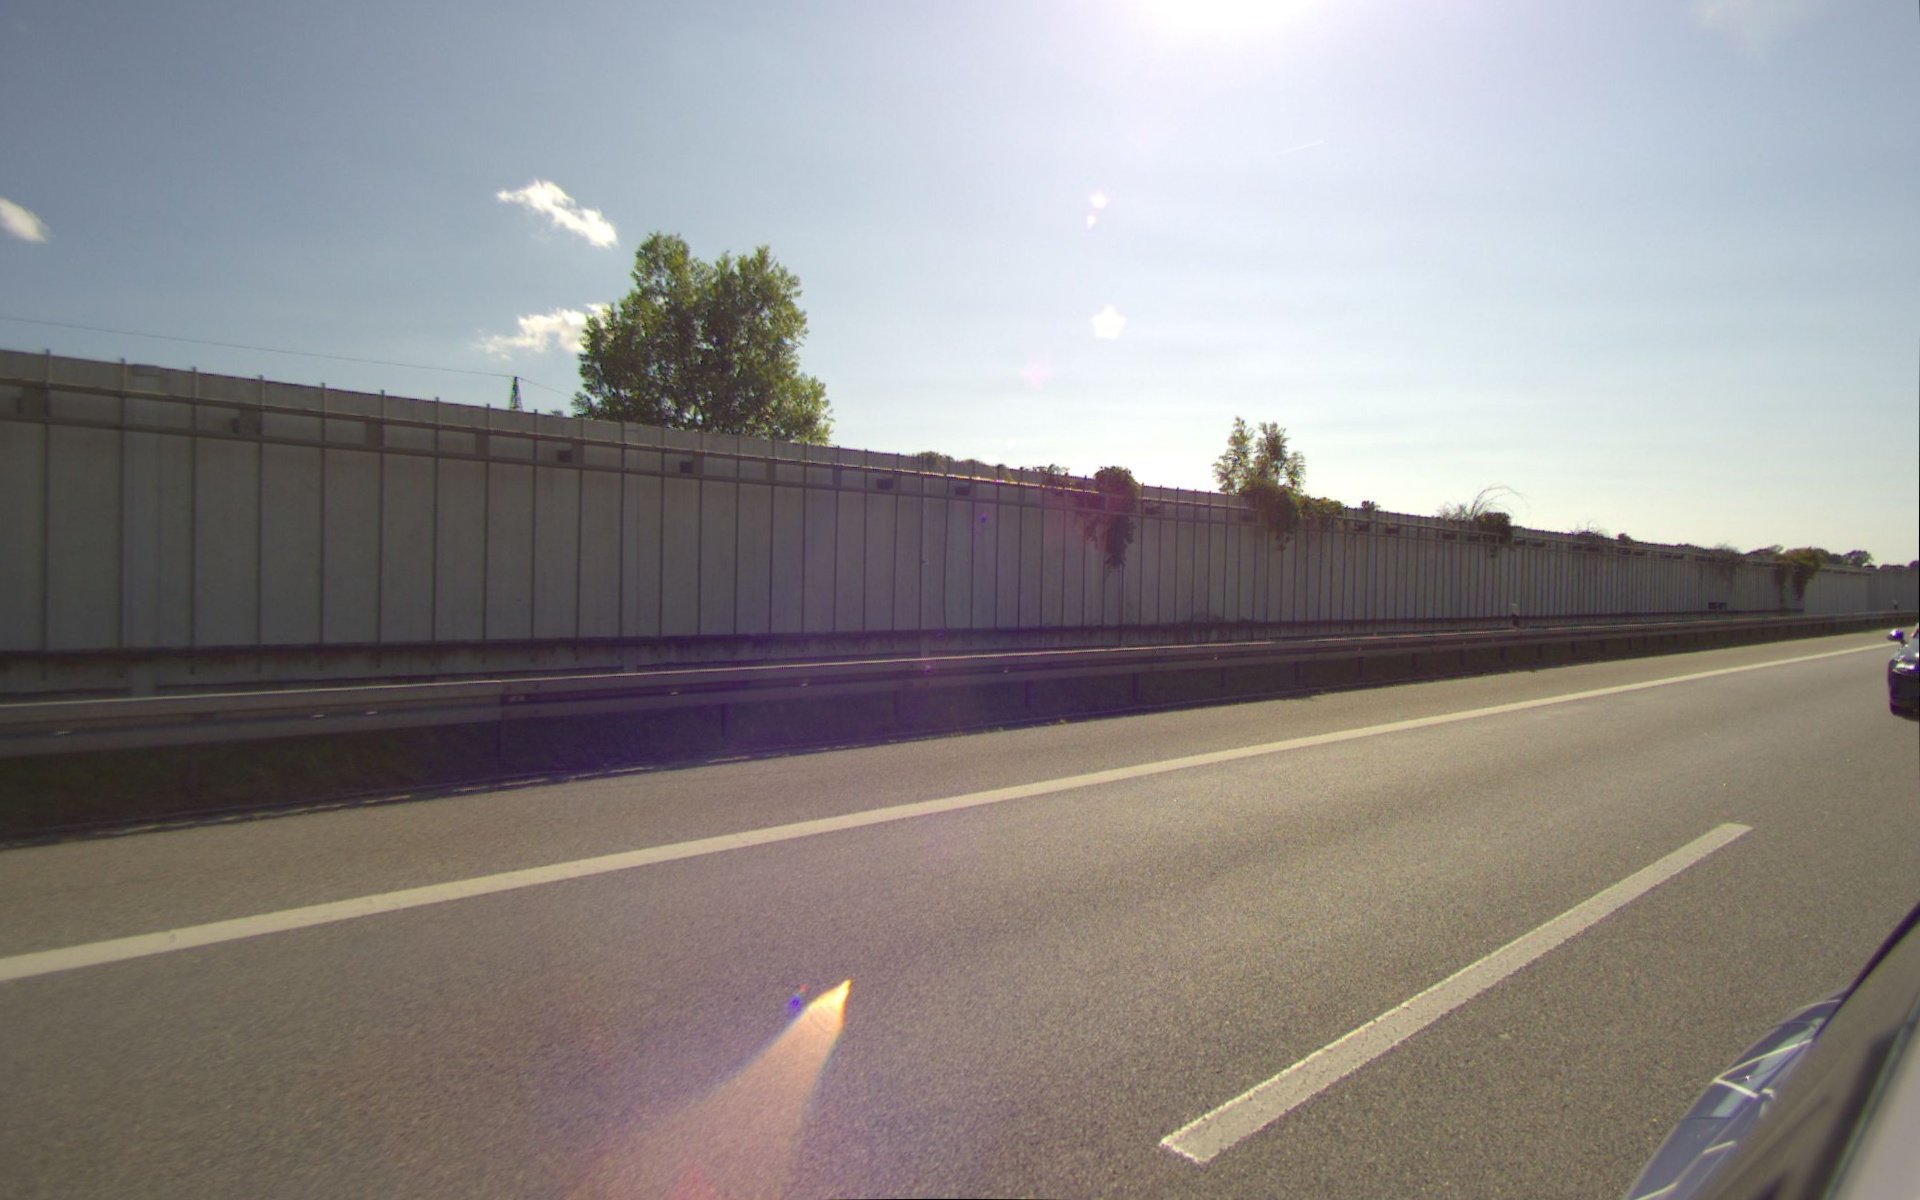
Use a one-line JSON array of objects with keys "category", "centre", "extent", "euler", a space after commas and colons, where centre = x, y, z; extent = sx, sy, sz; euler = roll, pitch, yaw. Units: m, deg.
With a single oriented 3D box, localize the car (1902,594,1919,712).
[{"category": "car", "centre": [13.881, 0.604, 13.172], "extent": [4.333, 1.417, 1.723], "euler": [-2, 1, -38]}]
